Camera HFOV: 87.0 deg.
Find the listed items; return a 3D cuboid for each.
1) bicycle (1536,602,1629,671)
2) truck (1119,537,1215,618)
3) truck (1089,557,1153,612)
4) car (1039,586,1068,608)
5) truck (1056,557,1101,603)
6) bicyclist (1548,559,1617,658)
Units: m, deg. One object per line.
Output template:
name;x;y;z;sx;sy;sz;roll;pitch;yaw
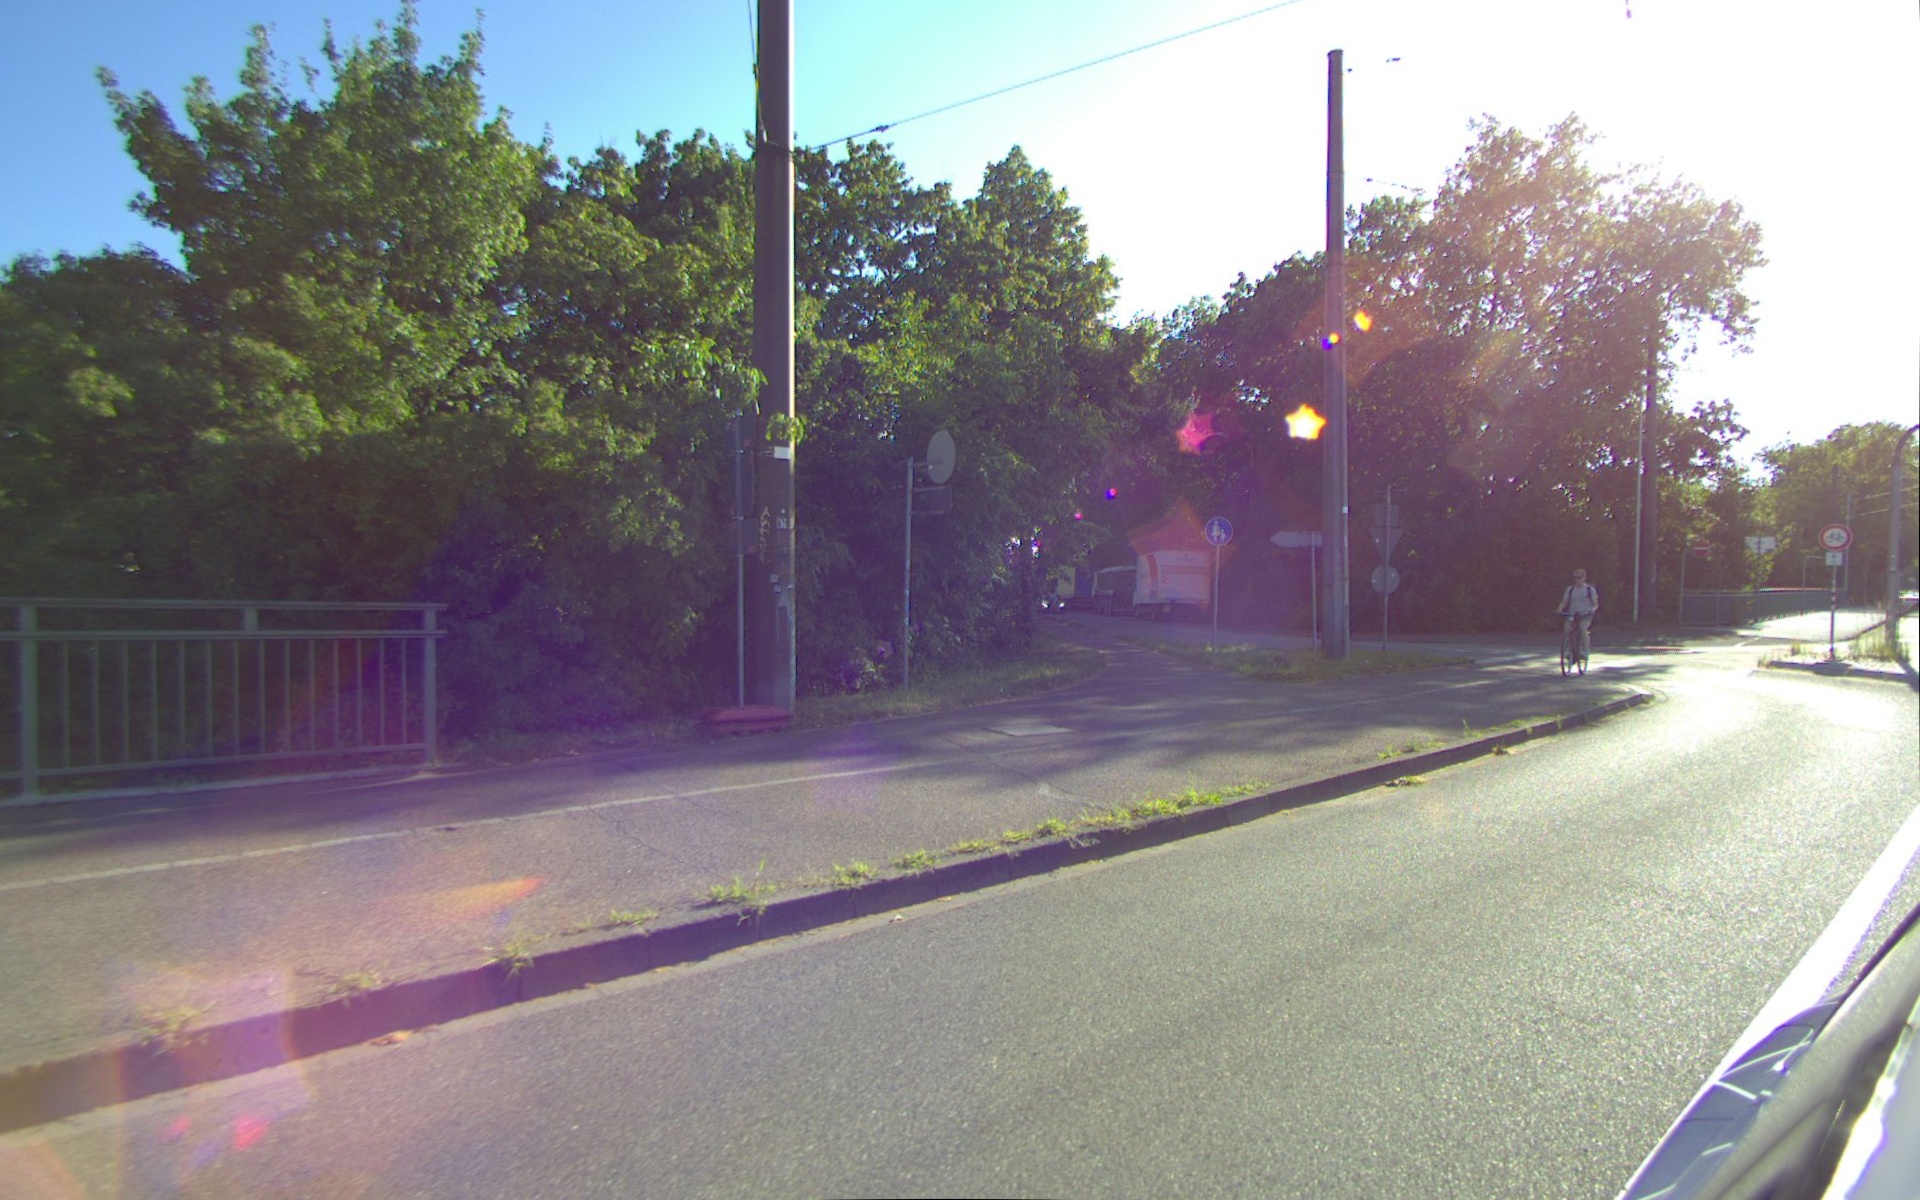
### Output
bicycle;11.139;0.623;18.058;2.696;1.137;0.731;0;-2;-44
truck;11.098;-1.226;55.350;2.510;4.047;9.895;0;1;-4
truck;10.747;-1.087;68.537;2.510;3.492;7.986;0;1;-4
car;6.863;-0.229;74.413;1.705;1.571;4.000;0;1;0
truck;10.489;-1.778;90.403;2.510;3.892;7.986;0;1;-4
bicyclist;11.141;0.158;18.098;1.182;1.711;0.731;0;-2;-44
